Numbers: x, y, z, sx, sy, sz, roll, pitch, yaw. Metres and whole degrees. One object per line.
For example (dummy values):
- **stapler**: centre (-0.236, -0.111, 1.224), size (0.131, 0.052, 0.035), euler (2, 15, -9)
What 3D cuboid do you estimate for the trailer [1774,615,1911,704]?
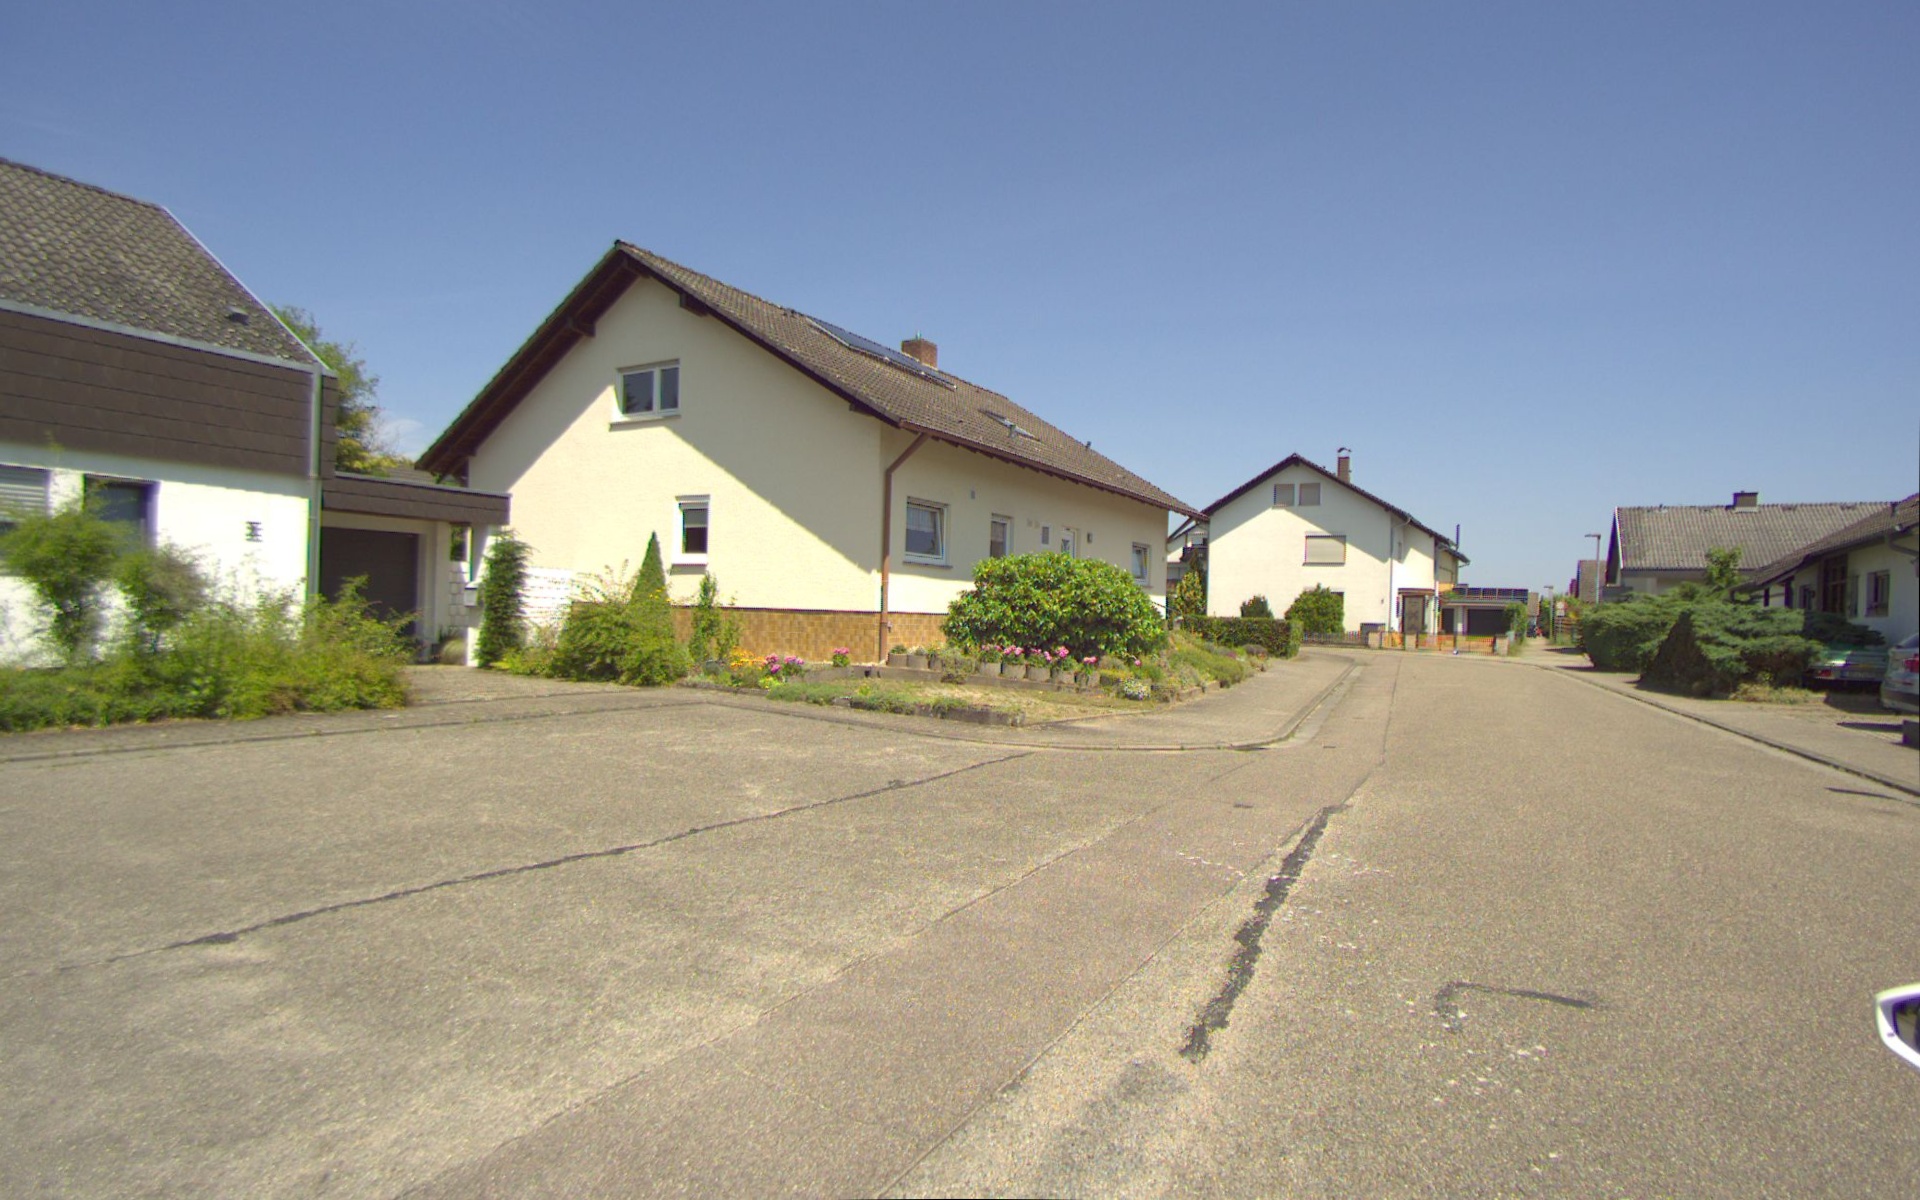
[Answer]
- **trailer**: centre (18.391, 1.172, 21.080), size (1.564, 1.694, 3.289), euler (0, -1, 31)

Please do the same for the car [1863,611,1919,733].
- **car**: centre (15.672, 1.018, 13.850), size (4.564, 1.724, 1.705), euler (-1, -1, 34)

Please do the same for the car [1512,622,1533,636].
- **car**: centre (71.144, 3.694, 127.096), size (2.162, 1.724, 3.799), euler (1, -1, 31)
